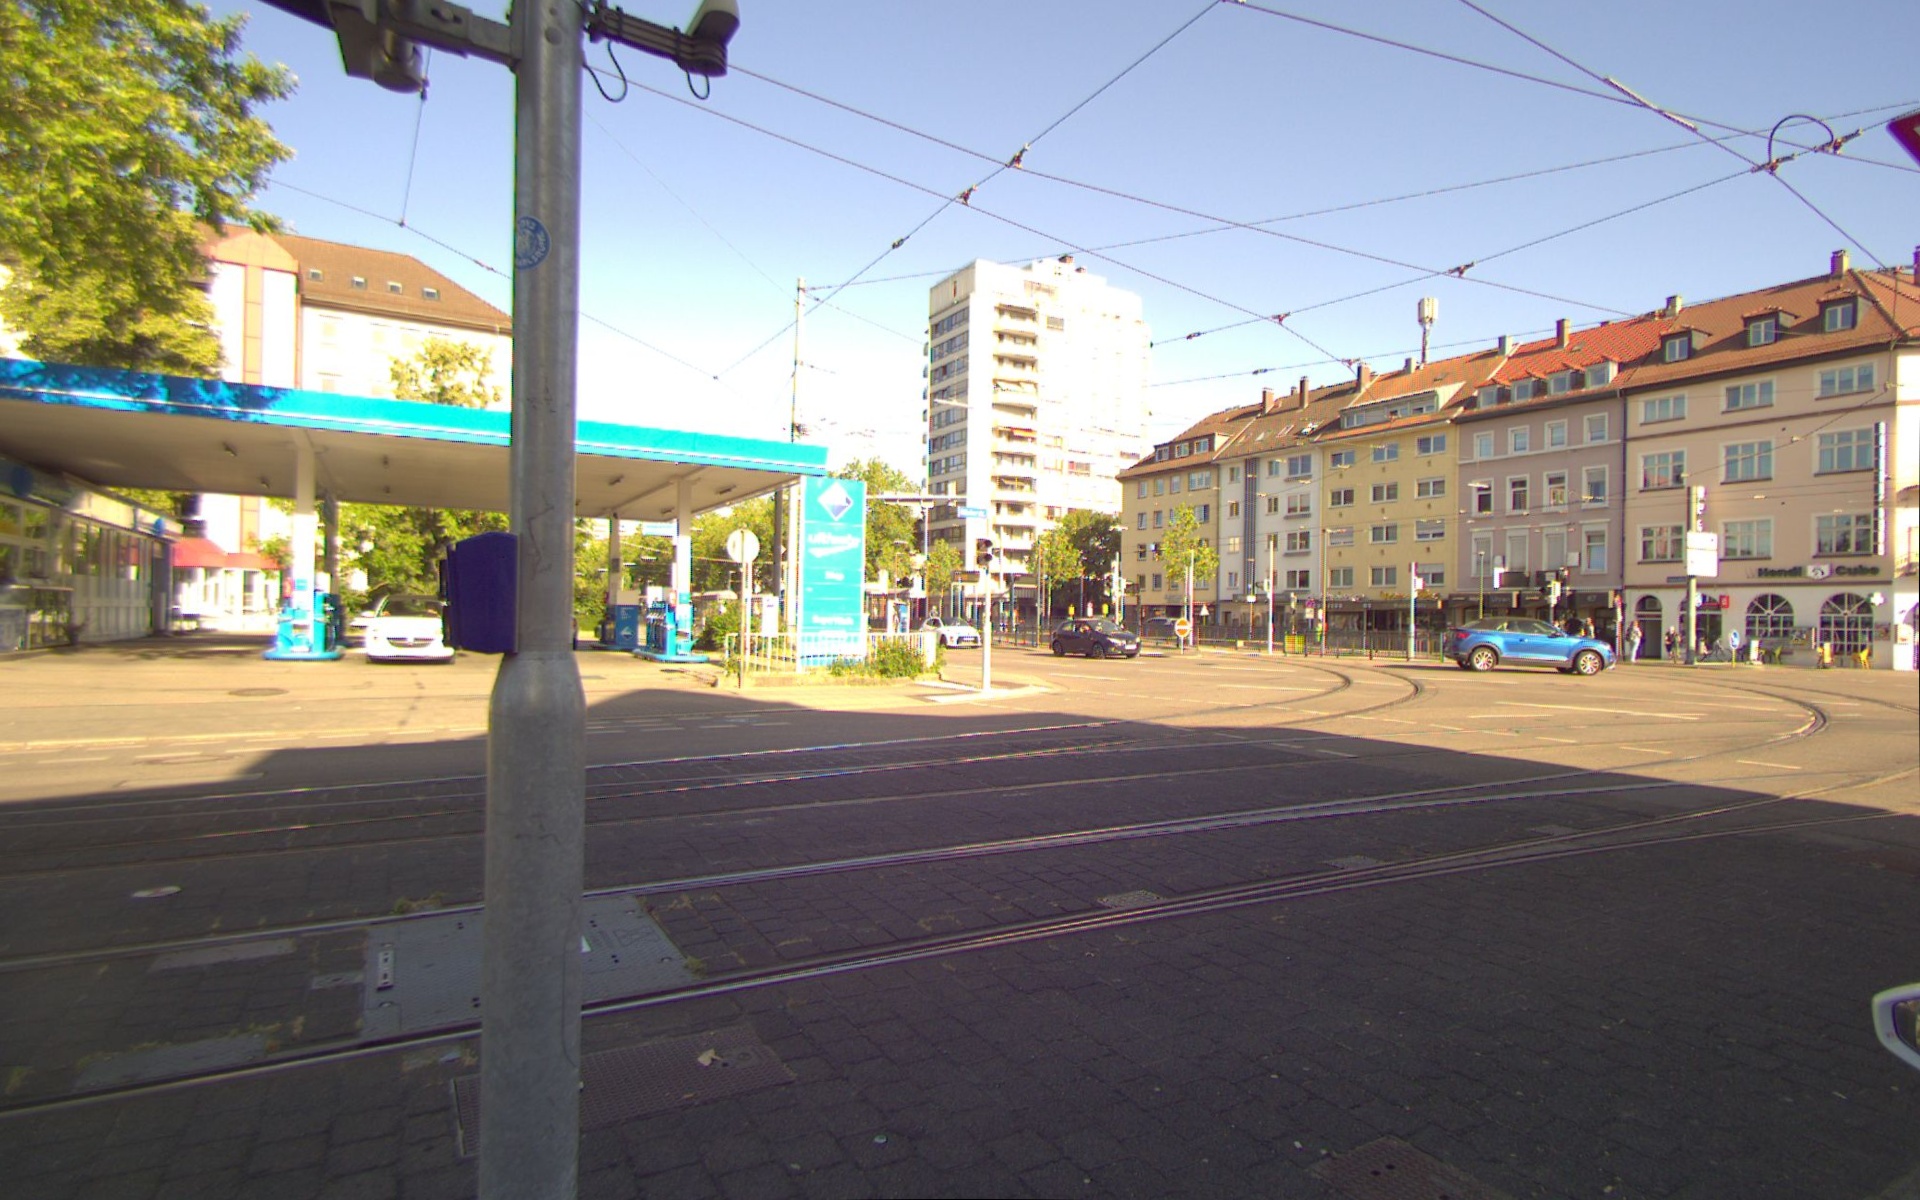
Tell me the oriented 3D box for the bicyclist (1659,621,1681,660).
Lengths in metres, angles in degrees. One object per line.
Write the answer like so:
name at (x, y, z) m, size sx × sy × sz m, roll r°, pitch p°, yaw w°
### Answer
bicyclist at (34.033, 1.938, 48.160) m, size 0.606 × 1.814 × 0.619 m, roll 2°, pitch 0°, yaw -25°

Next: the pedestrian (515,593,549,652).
pedestrian at (-12.829, 0.680, 30.108) m, size 0.838 × 1.724 × 0.644 m, roll 2°, pitch -3°, yaw -31°

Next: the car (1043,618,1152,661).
car at (4.939, 1.394, 36.553) m, size 1.811 × 1.422 × 3.965 m, roll 1°, pitch -1°, yaw -32°

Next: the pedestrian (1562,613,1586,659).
pedestrian at (24.779, 1.444, 40.550) m, size 0.669 × 1.847 × 0.524 m, roll 2°, pitch 0°, yaw -30°

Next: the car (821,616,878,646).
car at (-6.403, 1.760, 57.792) m, size 1.770 × 1.524 × 3.886 m, roll -3°, pitch 1°, yaw -31°

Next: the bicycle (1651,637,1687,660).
bicycle at (34.010, 2.336, 48.153) m, size 1.731 × 1.044 × 0.619 m, roll 2°, pitch 0°, yaw -25°

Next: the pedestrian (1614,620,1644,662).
pedestrian at (26.354, 1.604, 39.565) m, size 0.805 × 1.615 × 0.665 m, roll 2°, pitch 0°, yaw -30°

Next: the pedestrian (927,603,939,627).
pedestrian at (-2.417, 1.336, 89.398) m, size 0.729 × 2.127 × 0.880 m, roll 2°, pitch 0°, yaw -21°

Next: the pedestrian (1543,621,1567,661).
pedestrian at (25.135, 1.717, 42.441) m, size 0.719 × 1.670 × 0.570 m, roll 2°, pitch 0°, yaw -30°

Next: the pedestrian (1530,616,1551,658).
pedestrian at (23.781, 1.516, 41.147) m, size 0.492 × 1.670 × 0.520 m, roll 2°, pitch 0°, yaw -30°

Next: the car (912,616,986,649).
car at (-0.547, 1.502, 47.045) m, size 1.875 × 1.473 × 3.979 m, roll 1°, pitch -1°, yaw -28°

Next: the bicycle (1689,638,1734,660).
bicycle at (37.838, 2.467, 50.606) m, size 0.603 × 0.996 × 1.693 m, roll 2°, pitch 0°, yaw -29°

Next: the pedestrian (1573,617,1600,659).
pedestrian at (25.601, 1.540, 41.063) m, size 0.831 × 1.670 × 0.579 m, roll 2°, pitch 0°, yaw -30°

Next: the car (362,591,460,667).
car at (-12.211, 0.598, 22.361) m, size 1.723 × 1.455 × 3.905 m, roll 2°, pitch 1°, yaw -29°

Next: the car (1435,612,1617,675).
car at (15.812, 1.182, 28.293) m, size 4.114 × 1.596 × 1.832 m, roll 1°, pitch 0°, yaw 16°

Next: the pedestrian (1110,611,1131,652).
pedestrian at (6.523, 1.291, 40.900) m, size 0.750 × 1.631 × 0.613 m, roll 2°, pitch 0°, yaw 5°

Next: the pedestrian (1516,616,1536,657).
pedestrian at (23.509, 1.511, 41.702) m, size 0.492 × 1.670 × 0.520 m, roll 2°, pitch 0°, yaw -30°

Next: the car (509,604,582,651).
car at (-13.514, 0.864, 32.651) m, size 1.659 × 1.372 × 3.559 m, roll 2°, pitch 0°, yaw -31°
